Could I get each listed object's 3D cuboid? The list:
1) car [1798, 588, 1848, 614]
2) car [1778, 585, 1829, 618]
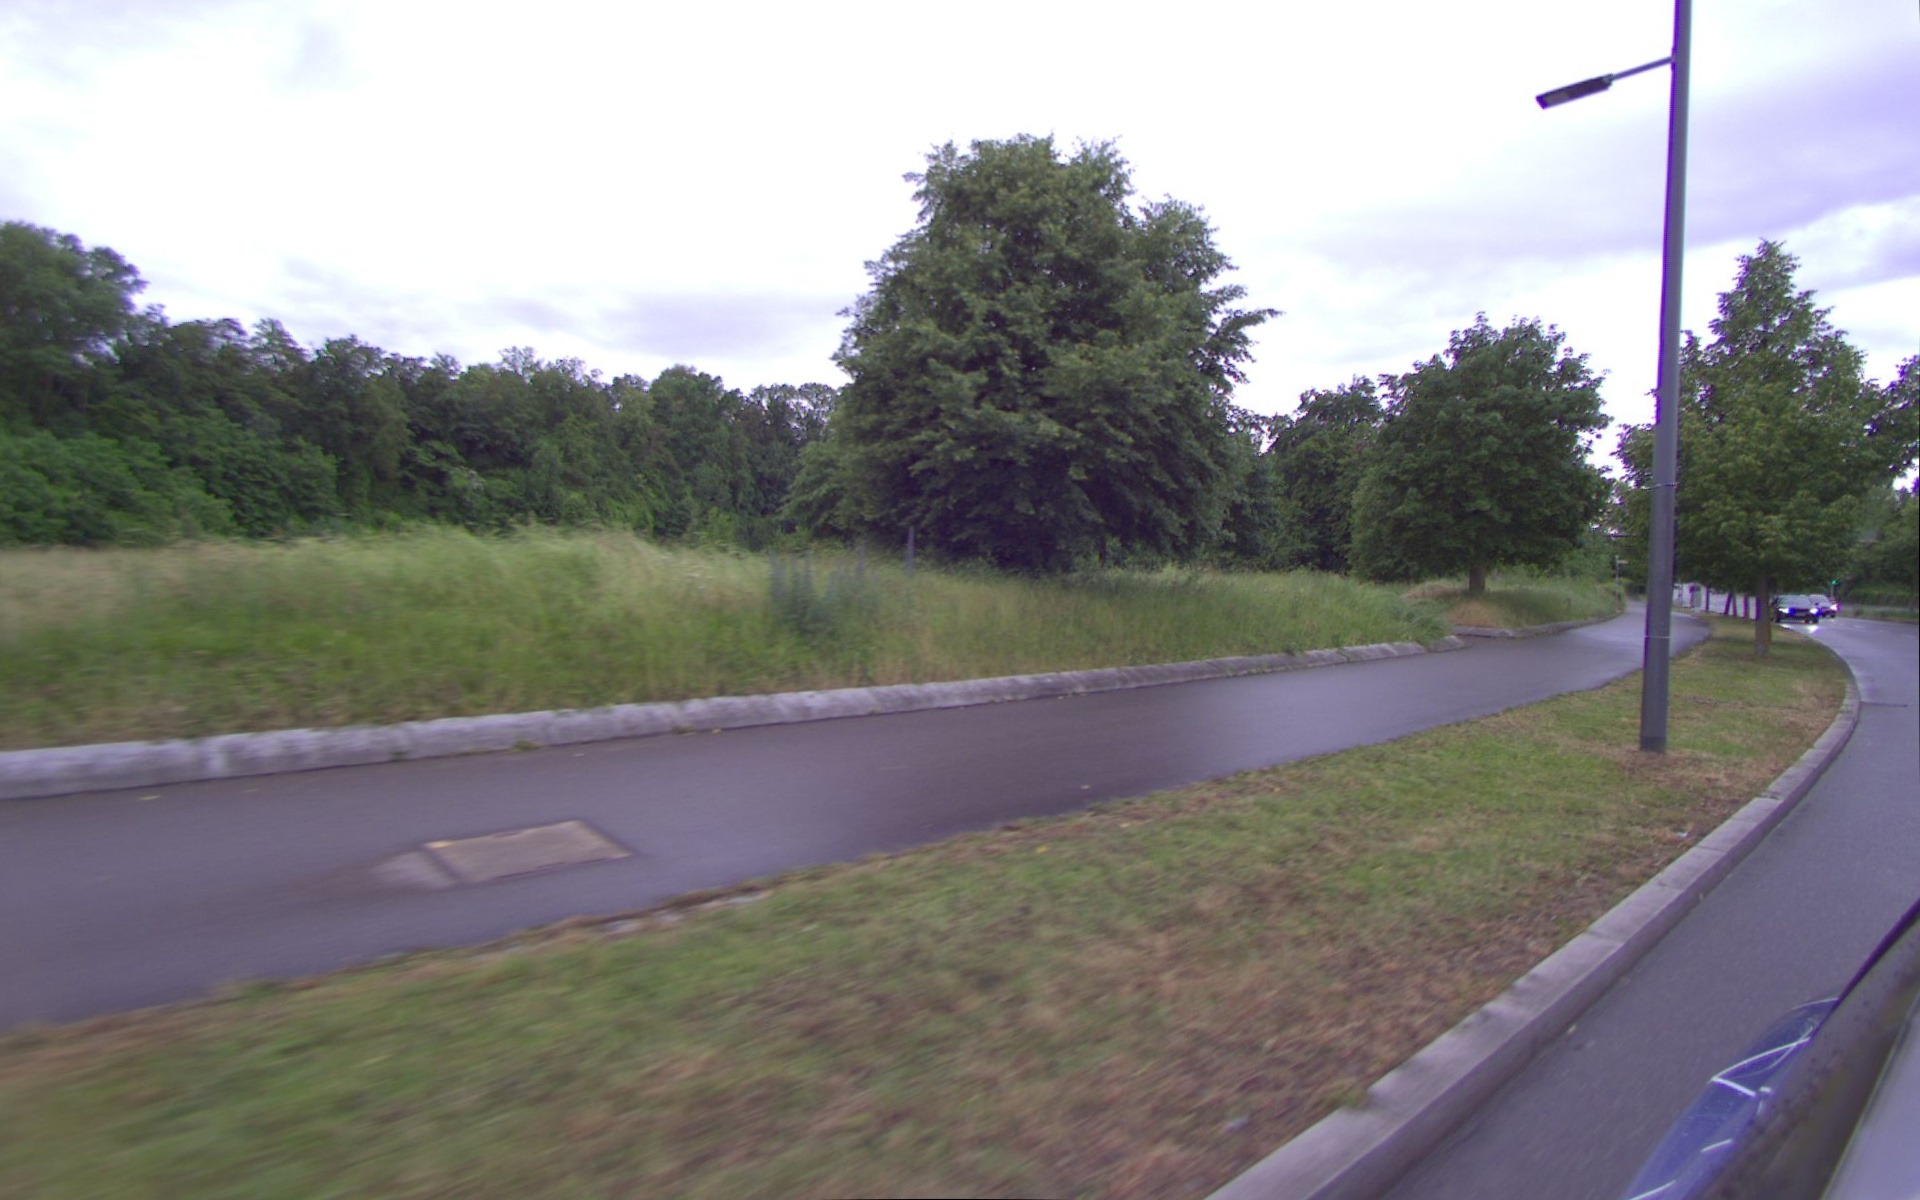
[{"bbox_3d":[55.853,0.034,65.540,1.811,1.575,3.956,1,2,31],"label":"car"},{"bbox_3d":[44.810,0.061,53.818,1.815,1.575,3.949,1,2,36],"label":"car"}]
